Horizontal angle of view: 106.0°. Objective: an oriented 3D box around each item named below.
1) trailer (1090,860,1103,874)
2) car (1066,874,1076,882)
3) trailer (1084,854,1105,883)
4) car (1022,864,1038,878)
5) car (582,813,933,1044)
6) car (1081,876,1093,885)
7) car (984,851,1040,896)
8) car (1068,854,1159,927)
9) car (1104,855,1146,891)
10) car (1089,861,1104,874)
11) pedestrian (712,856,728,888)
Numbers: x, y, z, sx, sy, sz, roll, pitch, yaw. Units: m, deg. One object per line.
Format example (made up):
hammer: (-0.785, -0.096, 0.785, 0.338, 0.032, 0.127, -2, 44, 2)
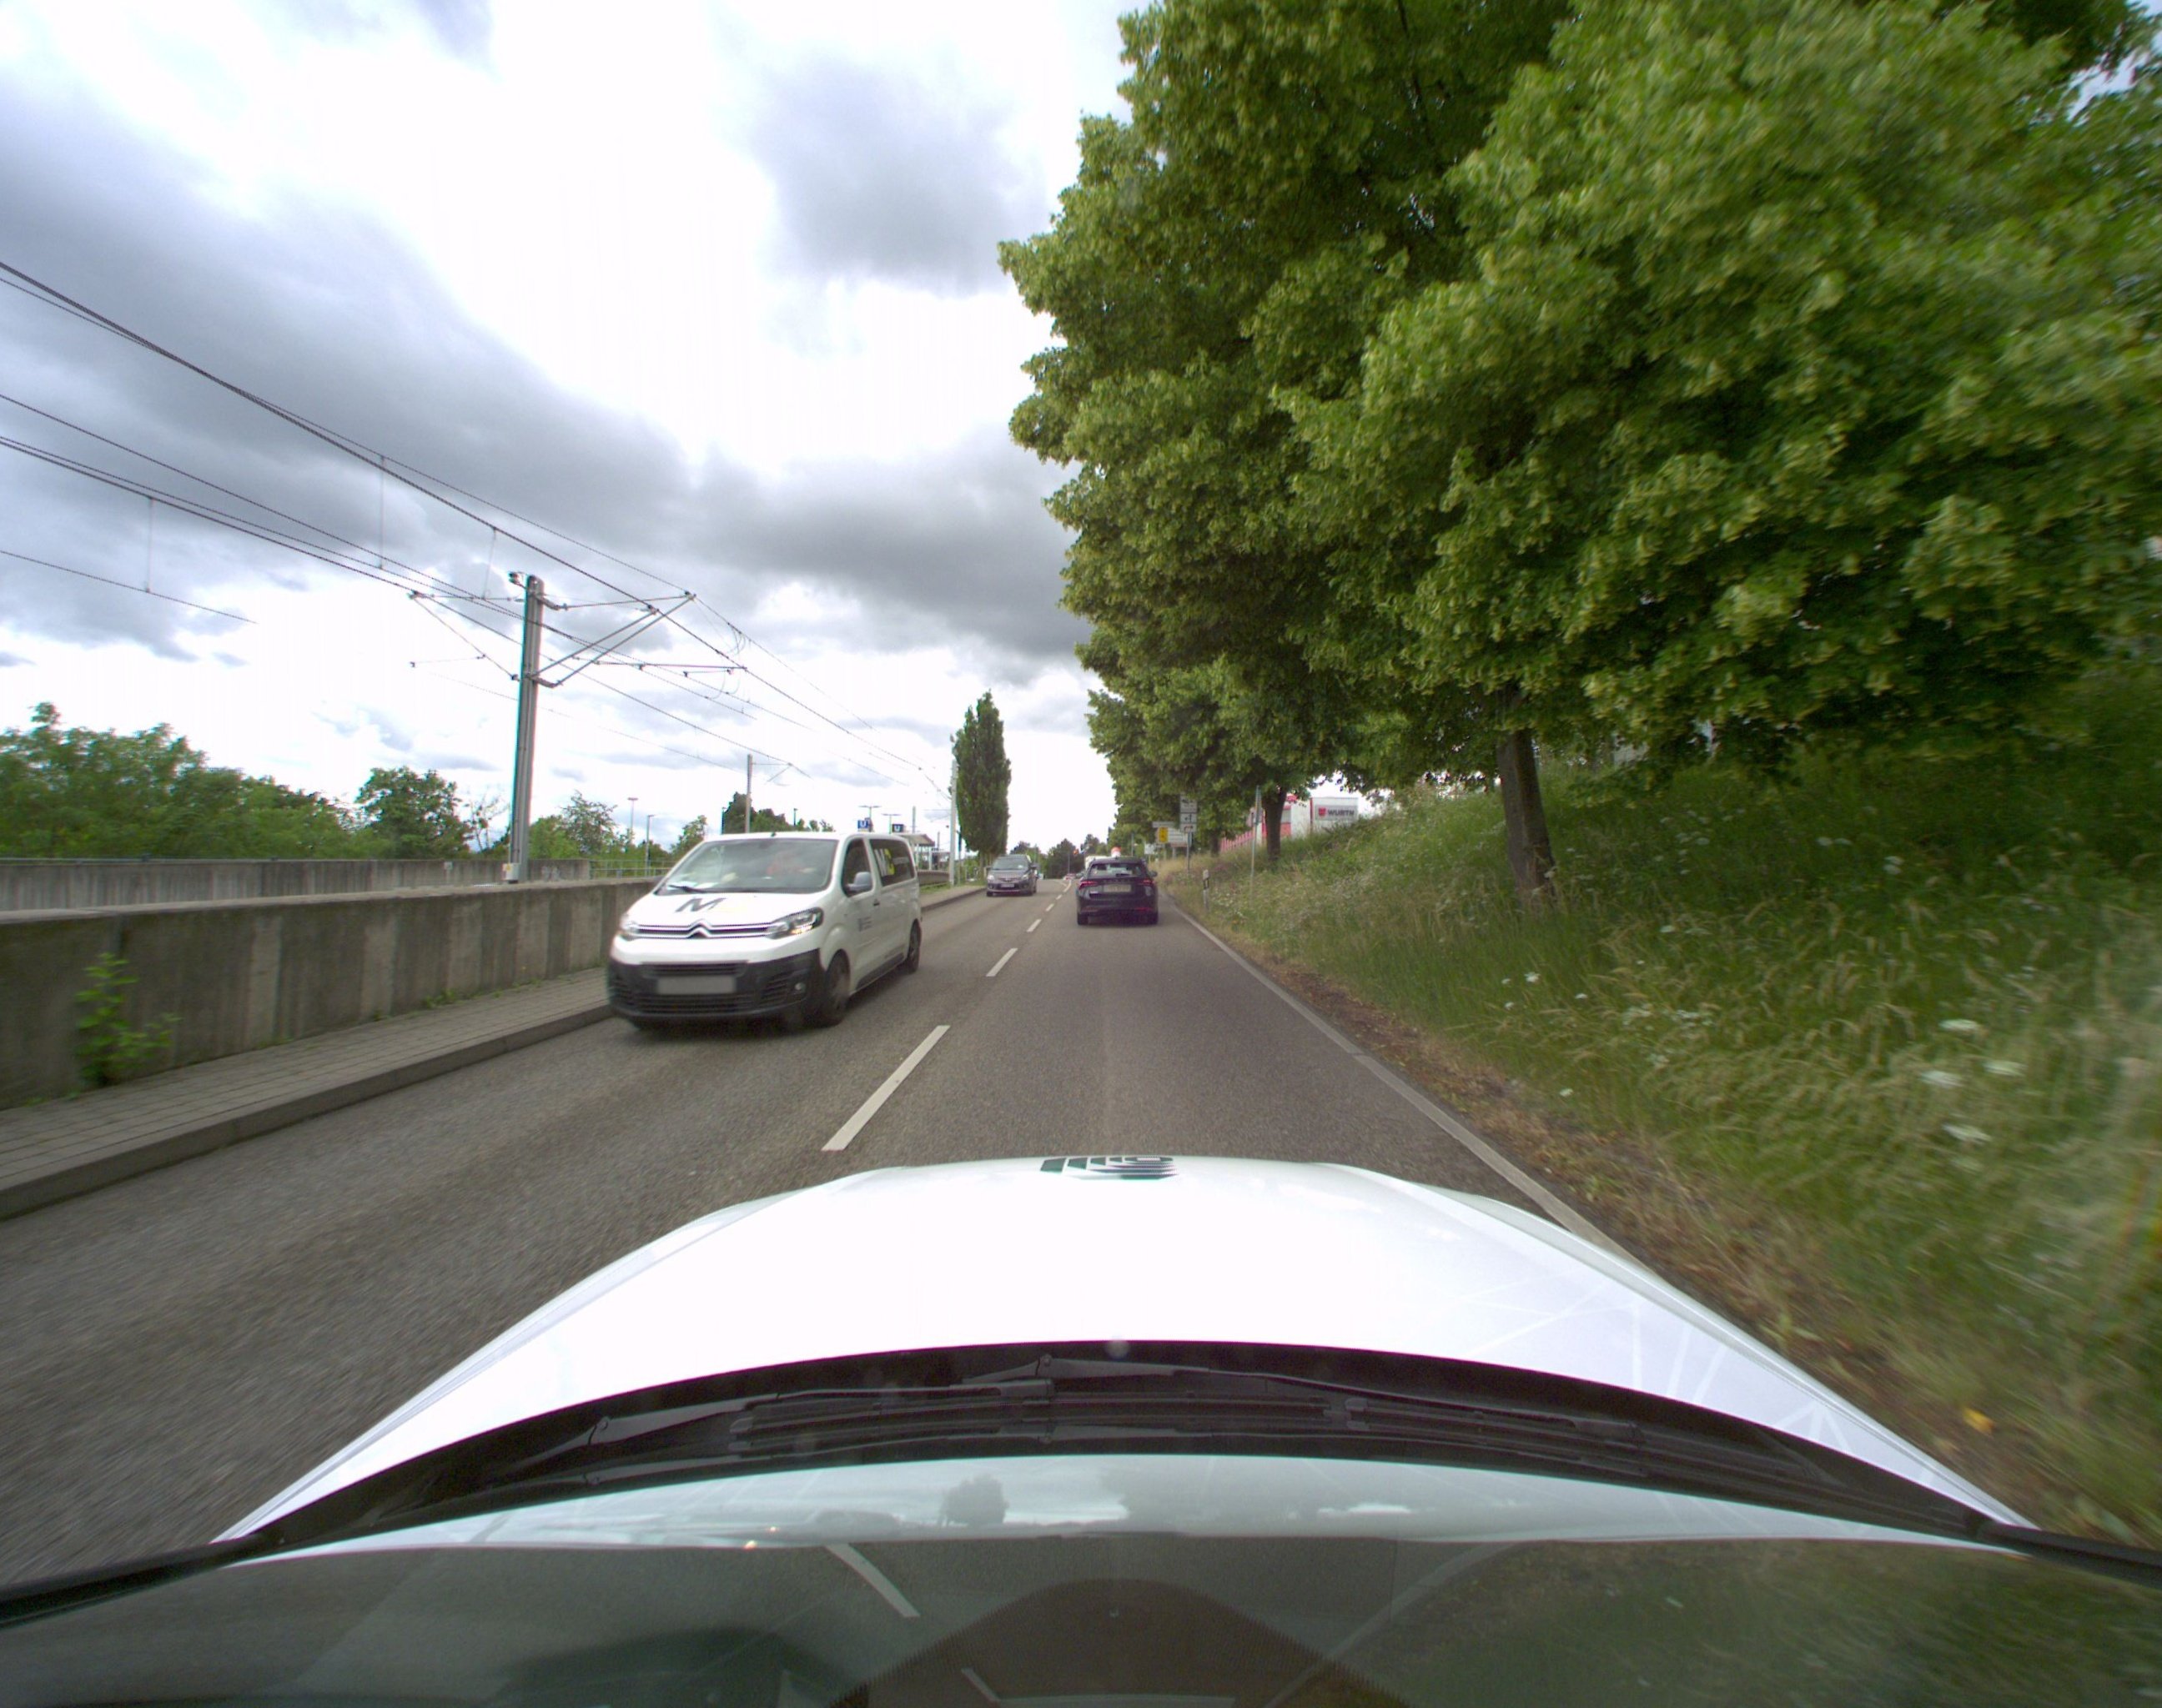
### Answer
trailer: (1.800, 1.489, 93.451, 1.405, 1.594, 3.301, -1, -2, -1)
car: (-1.664, 3.959, 135.118, 1.521, 1.354, 3.488, 0, -1, -2)
trailer: (1.947, 2.204, 122.459, 2.560, 3.707, 7.750, 0, -6, -3)
car: (-5.719, 1.904, 92.075, 1.711, 1.521, 3.742, -1, 0, -2)
car: (-3.114, 0.630, 9.165, 1.890, 1.833, 4.906, -2, -1, 1)
car: (1.022, 4.365, 135.555, 1.805, 1.354, 4.118, 0, -1, 1)
car: (-2.703, 0.739, 32.613, 1.817, 1.657, 4.245, 0, 0, 0)
car: (0.863, 0.749, 18.821, 1.827, 1.432, 4.285, -2, 0, 5)
car: (1.846, 0.789, 35.044, 1.618, 1.457, 3.688, -1, -1, 0)
car: (1.779, 1.657, 97.357, 1.666, 1.448, 4.486, 0, -2, -1)
pedestrian: (-18.506, 0.900, 41.726, 0.505, 1.625, 0.646, 0, -1, 0)
